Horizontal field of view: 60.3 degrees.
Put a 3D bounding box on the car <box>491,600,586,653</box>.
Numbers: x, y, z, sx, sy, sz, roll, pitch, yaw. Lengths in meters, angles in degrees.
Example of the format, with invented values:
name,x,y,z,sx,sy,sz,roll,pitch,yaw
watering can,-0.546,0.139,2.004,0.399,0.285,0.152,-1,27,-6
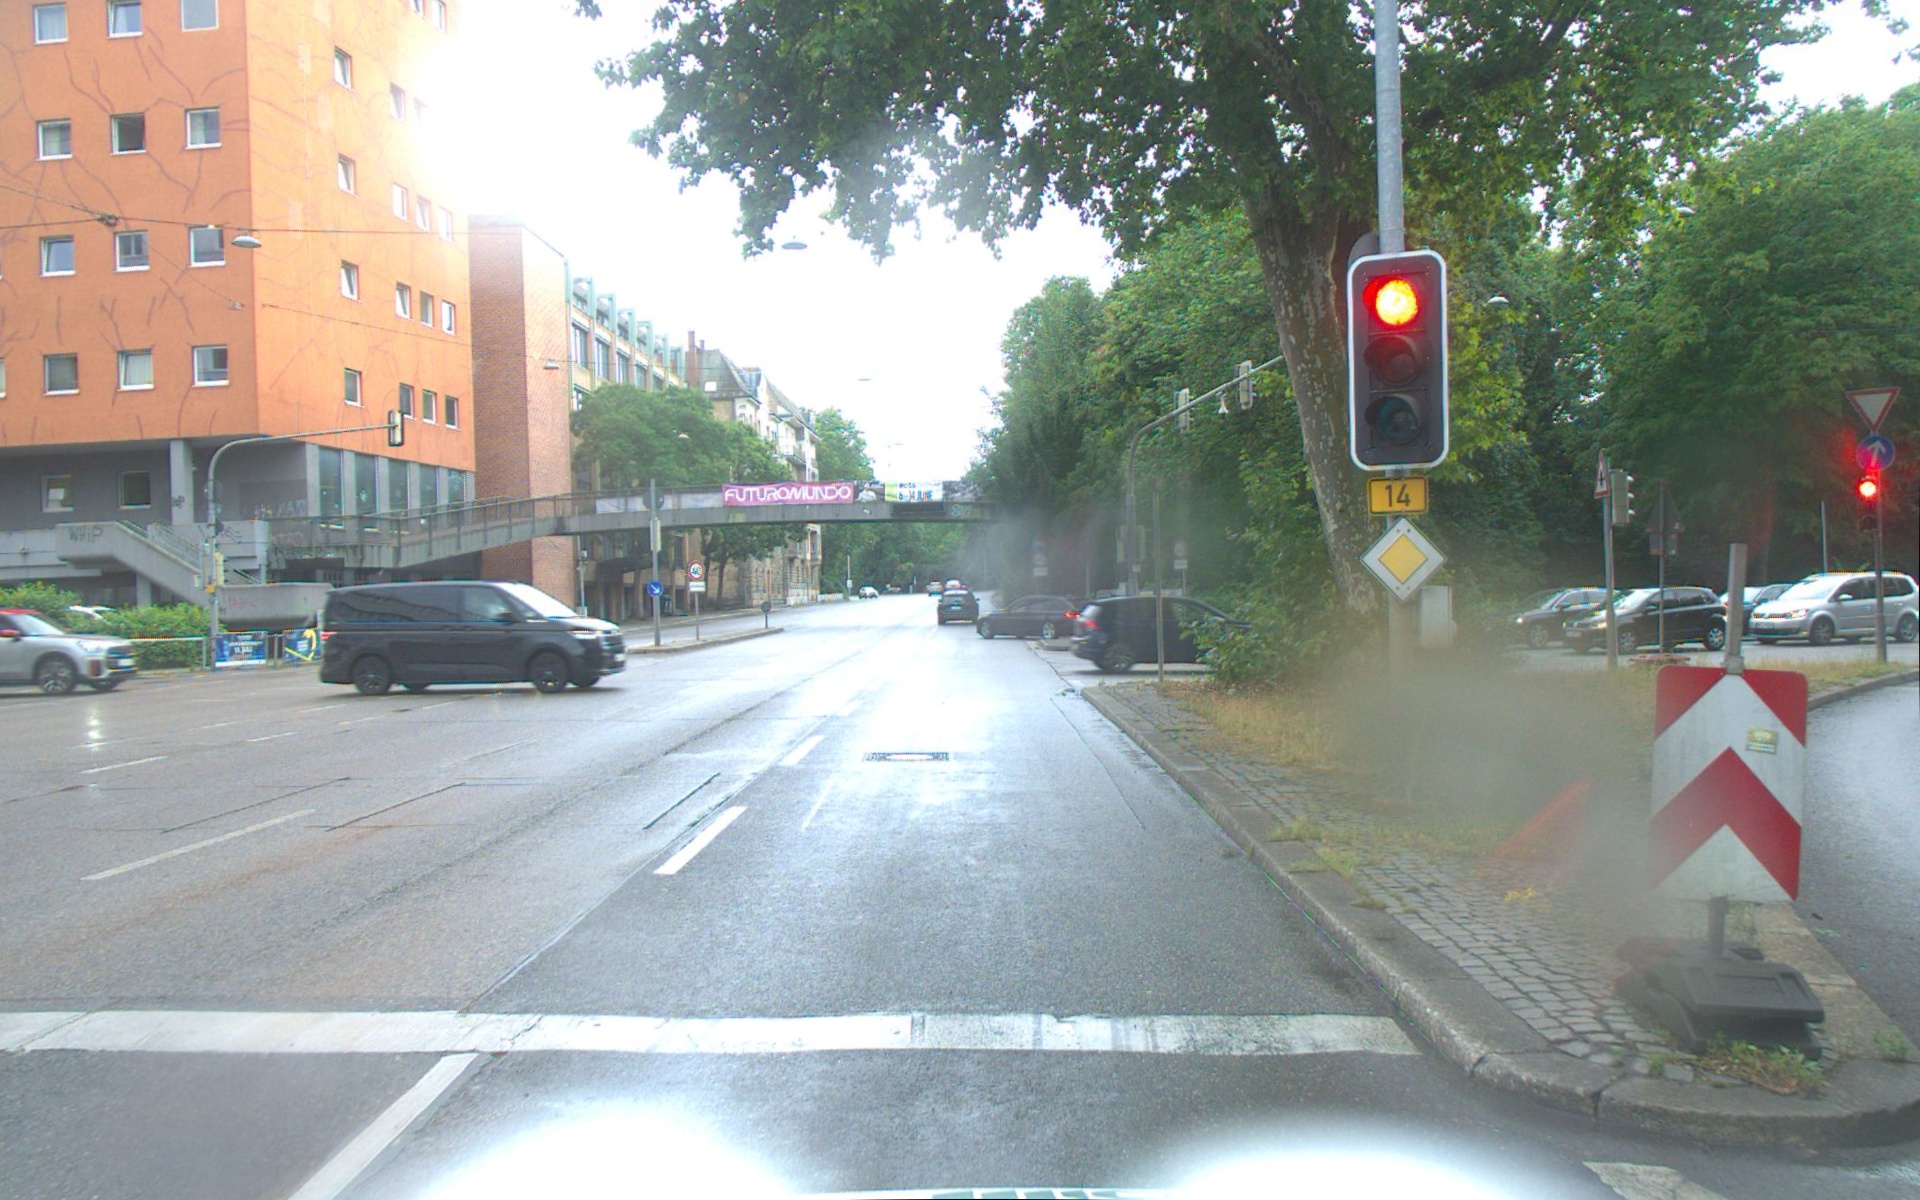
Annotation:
name,x,y,z,sx,sy,sz,roll,pitch,yaw
car,-13.220,0.817,52.080,1.953,1.545,3.999,-2,0,0

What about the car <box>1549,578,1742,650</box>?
name,x,y,z,sx,sy,sz,roll,pitch,yaw
car,15.395,0.301,37.184,3.791,1.511,1.665,-1,-1,-16

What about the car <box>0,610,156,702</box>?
name,x,y,z,sx,sy,sz,roll,pitch,yaw
car,-18.030,1.057,31.565,4.418,1.666,1.881,-1,0,-1

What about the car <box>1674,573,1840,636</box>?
name,x,y,z,sx,sy,sz,roll,pitch,yaw
car,20.585,0.111,42.732,3.768,1.512,1.734,-1,0,-21

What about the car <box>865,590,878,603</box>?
name,x,y,z,sx,sy,sz,roll,pitch,yaw
car,-12.792,-0.548,238.452,1.586,1.726,3.548,-3,0,-1

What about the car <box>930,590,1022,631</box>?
name,x,y,z,sx,sy,sz,roll,pitch,yaw
car,0.649,0.442,71.133,1.857,1.666,4.475,-1,0,-32

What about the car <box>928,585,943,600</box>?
name,x,y,z,sx,sy,sz,roll,pitch,yaw
car,-2.929,-0.863,199.702,1.727,1.726,3.705,-3,0,-1

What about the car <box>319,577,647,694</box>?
name,x,y,z,sx,sy,sz,roll,pitch,yaw
car,-8.072,0.592,28.239,4.969,1.878,2.001,-1,0,4

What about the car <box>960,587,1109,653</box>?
name,x,y,z,sx,sy,sz,roll,pitch,yaw
car,2.408,0.662,53.511,4.257,1.868,2.132,-3,0,29

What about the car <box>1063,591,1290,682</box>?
name,x,y,z,sx,sy,sz,roll,pitch,yaw
car,4.133,0.689,31.872,4.054,1.471,1.584,-3,0,-4

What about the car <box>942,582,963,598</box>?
name,x,y,z,sx,sy,sz,roll,pitch,yaw
car,-0.832,-1.148,183.343,2.078,1.765,4.196,0,1,-3

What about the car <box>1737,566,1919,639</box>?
name,x,y,z,sx,sy,sz,roll,pitch,yaw
car,20.804,0.055,39.344,4.199,1.512,1.763,-3,0,-21

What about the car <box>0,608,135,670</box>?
name,x,y,z,sx,sy,sz,roll,pitch,yaw
car,-27.193,1.171,49.636,3.929,1.646,1.896,-3,0,9

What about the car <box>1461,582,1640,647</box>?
name,x,y,z,sx,sy,sz,roll,pitch,yaw
car,14.635,0.353,41.006,3.929,1.512,1.867,-1,0,-21
